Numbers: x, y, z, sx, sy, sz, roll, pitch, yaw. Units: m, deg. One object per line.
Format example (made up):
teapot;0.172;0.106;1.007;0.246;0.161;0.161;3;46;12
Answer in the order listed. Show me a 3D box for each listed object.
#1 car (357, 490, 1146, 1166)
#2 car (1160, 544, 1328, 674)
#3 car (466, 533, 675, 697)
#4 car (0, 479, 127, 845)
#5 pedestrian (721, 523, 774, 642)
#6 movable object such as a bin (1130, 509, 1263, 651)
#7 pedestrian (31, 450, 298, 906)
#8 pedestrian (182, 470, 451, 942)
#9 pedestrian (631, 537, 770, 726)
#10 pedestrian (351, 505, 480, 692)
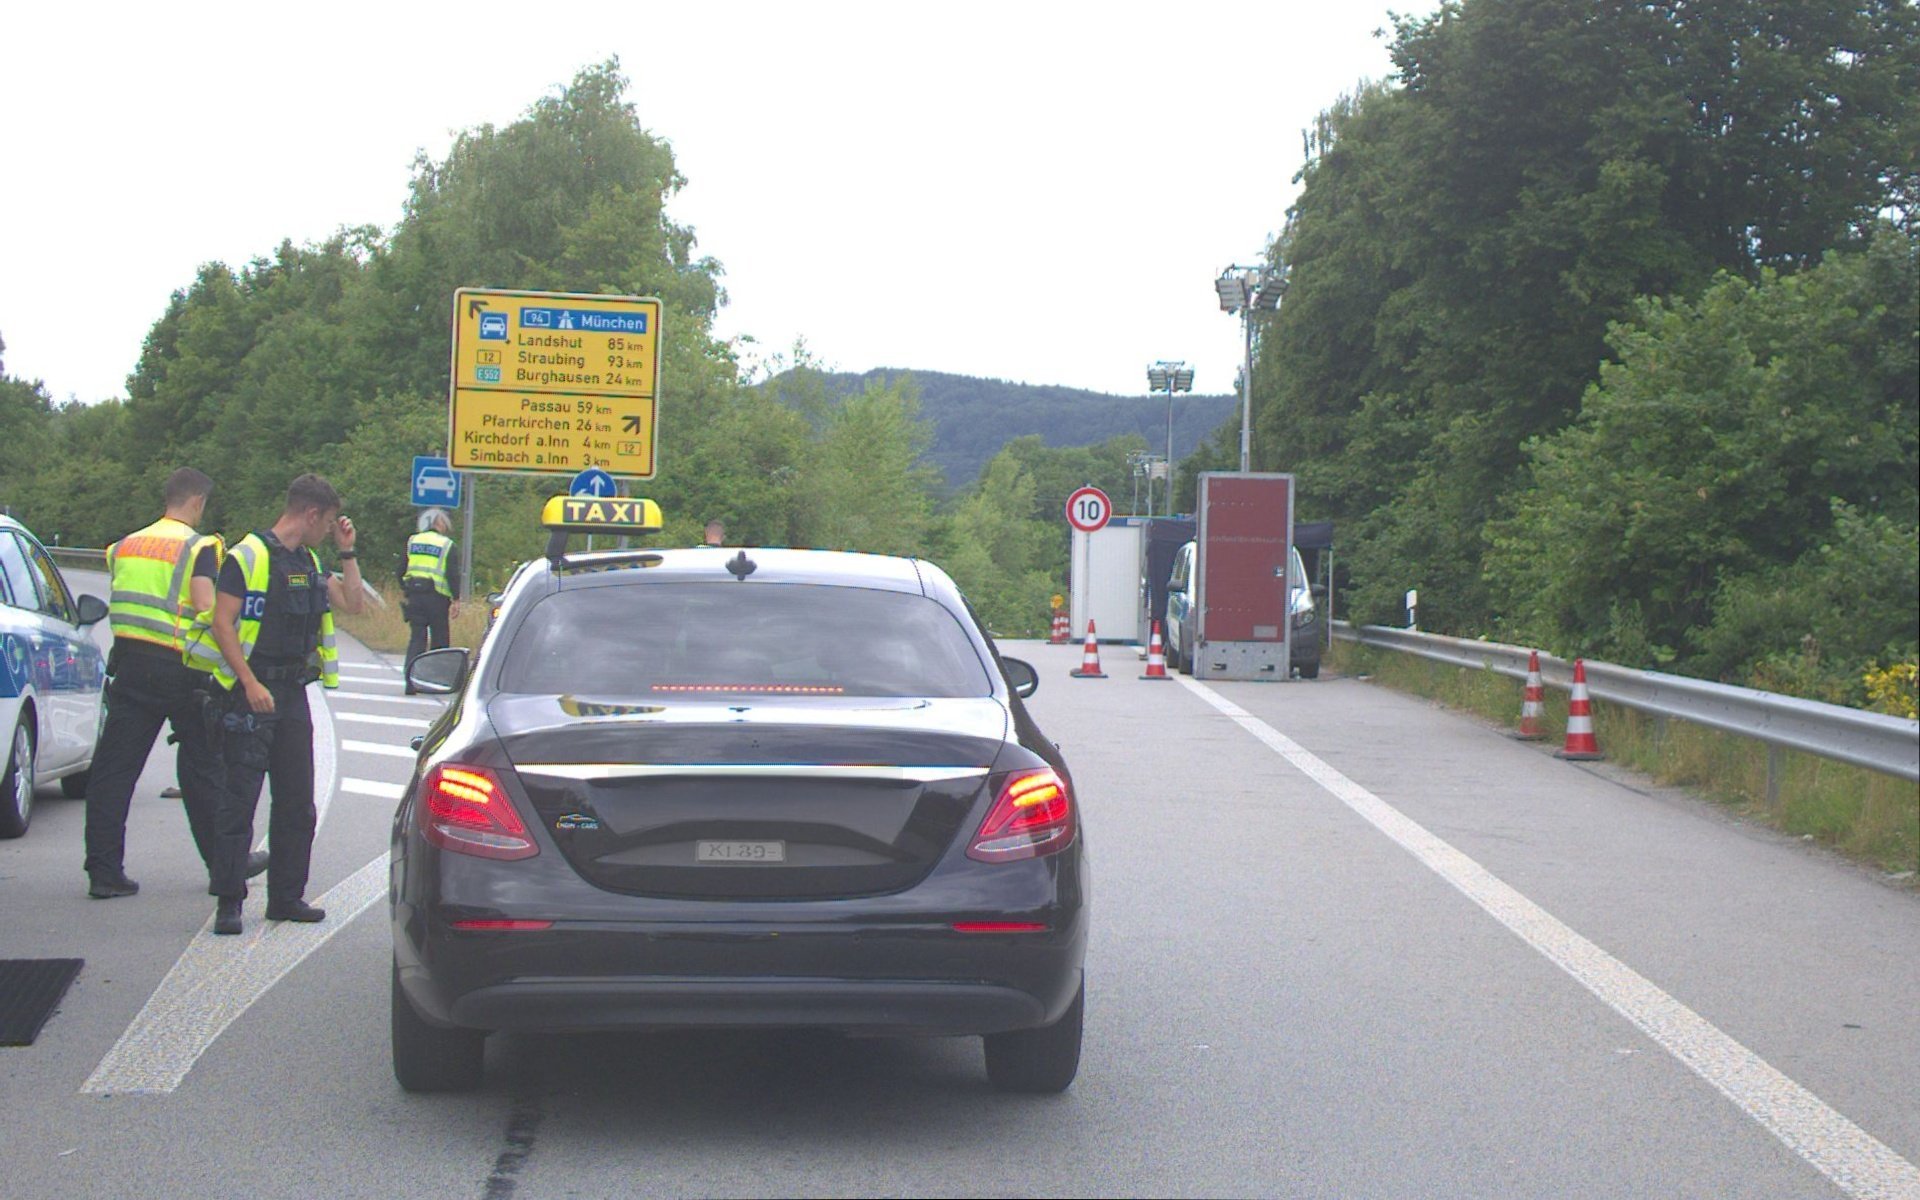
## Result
car;-0.712;0.506;10.350;1.855;1.589;4.376;1;1;-6
car;3.981;0.082;48.986;1.916;1.672;5.083;3;1;0
car;-3.772;0.102;33.876;1.855;1.493;4.257;1;1;-4
car;-5.641;0.252;18.059;1.868;1.737;4.009;1;1;-5
pedestrian;-3.544;-0.296;57.237;0.664;1.954;0.759;1;1;15
movable object such as a bin;3.936;-0.360;57.825;1.993;2.272;4.168;1;1;1
pedestrian;-3.280;0.304;14.223;0.812;1.824;0.809;1;1;11
pedestrian;-2.445;0.379;13.020;0.760;1.712;0.818;0;1;-31
pedestrian;-2.367;0.278;31.301;0.908;1.692;0.914;1;1;-33
pedestrian;-5.232;-0.025;33.093;0.909;1.763;0.913;1;1;15
